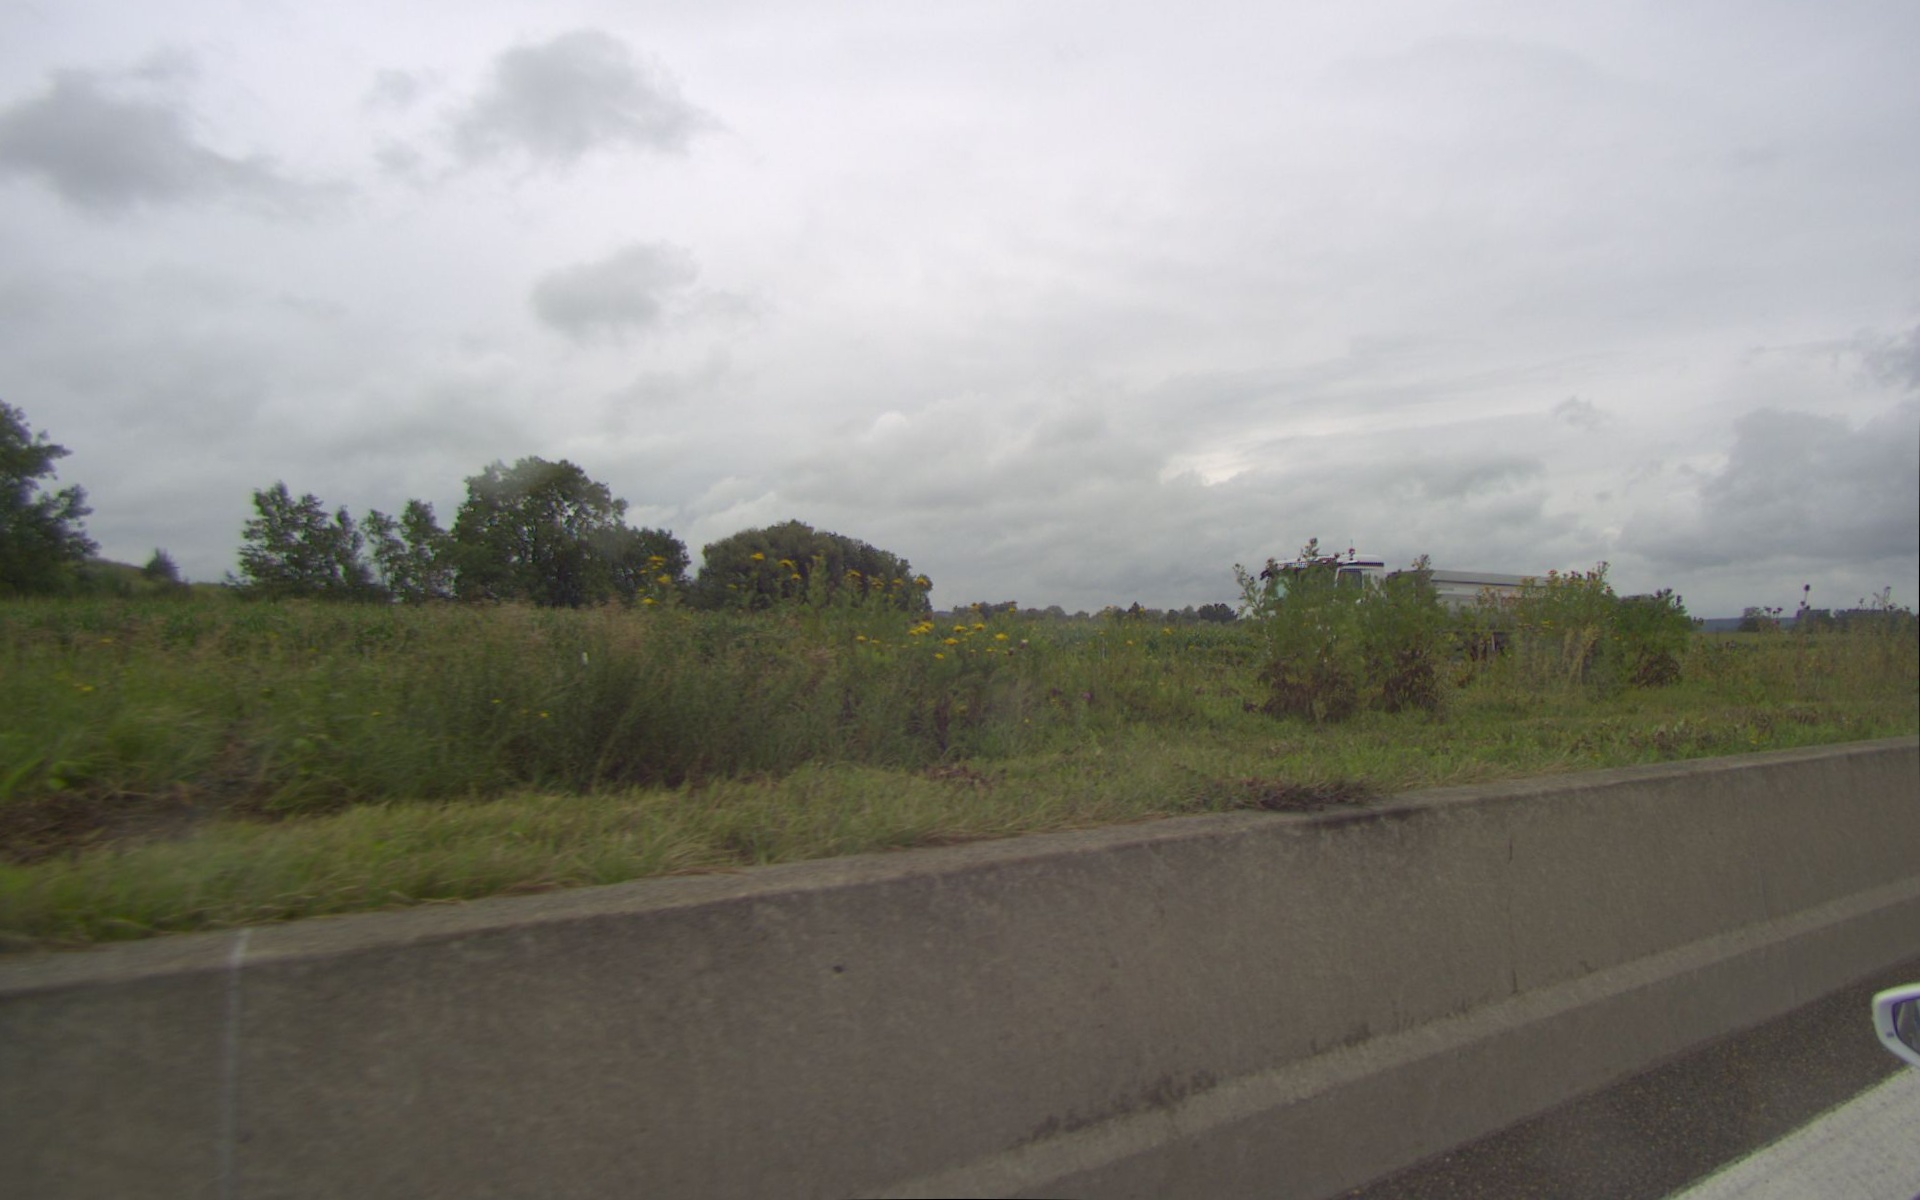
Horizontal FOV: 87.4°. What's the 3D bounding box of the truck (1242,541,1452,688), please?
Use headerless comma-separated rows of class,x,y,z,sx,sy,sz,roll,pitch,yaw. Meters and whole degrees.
truck,9.798,0.388,25.461,4.468,3.388,2.742,2,0,-30

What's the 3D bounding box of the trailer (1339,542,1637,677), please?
trailer,15.287,0.364,28.741,9.811,3.373,2.773,2,0,-31
